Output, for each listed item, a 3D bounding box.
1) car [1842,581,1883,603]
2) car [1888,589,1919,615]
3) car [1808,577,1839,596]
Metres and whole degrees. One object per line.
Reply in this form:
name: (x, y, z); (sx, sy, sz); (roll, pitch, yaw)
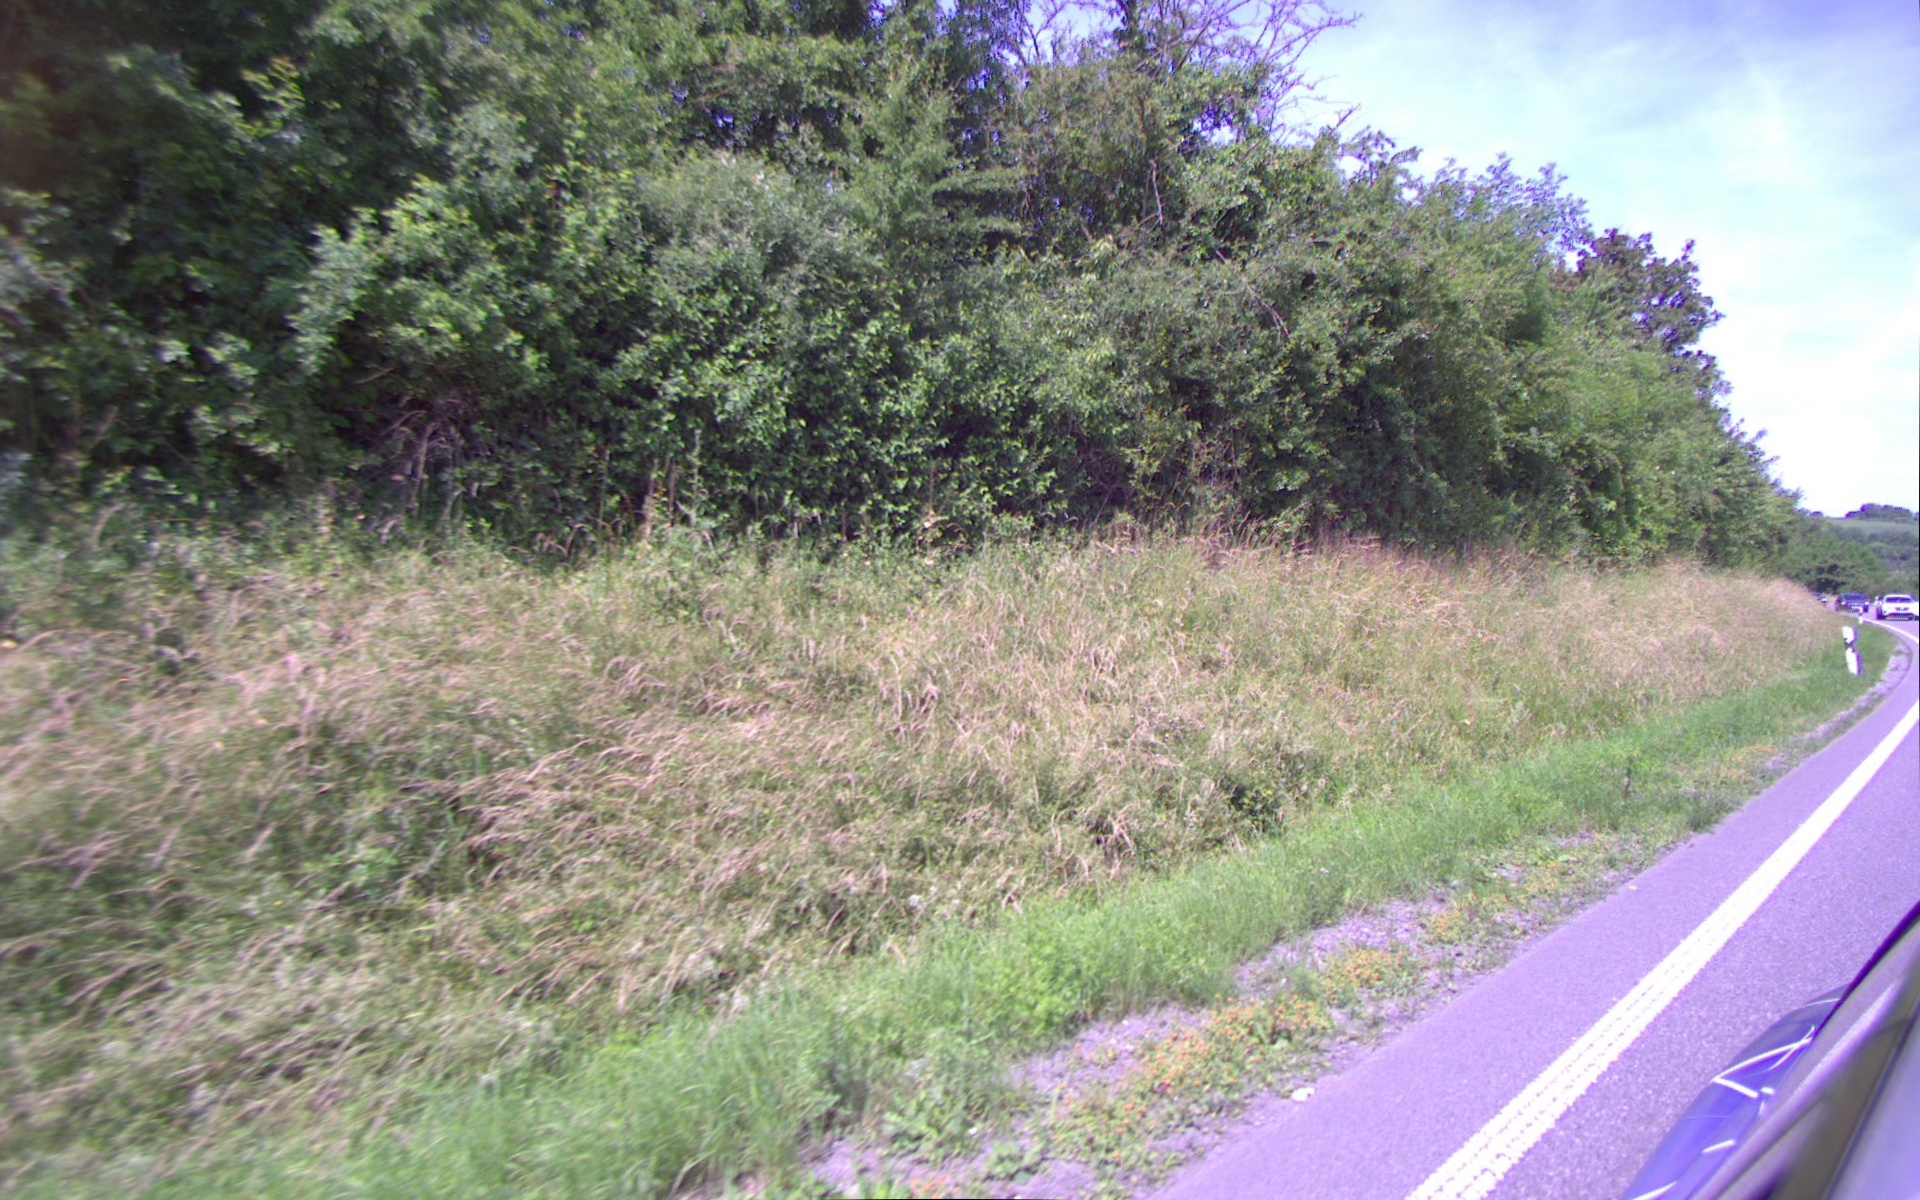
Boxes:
car: (72.812, -0.680, 81.705); (1.815, 1.537, 3.951); (6, 5, 34)
car: (57.483, 0.115, 61.112); (1.858, 1.507, 3.944); (0, 0, 39)
car: (85.628, -1.397, 100.417); (1.656, 1.669, 3.954); (6, 5, 33)
